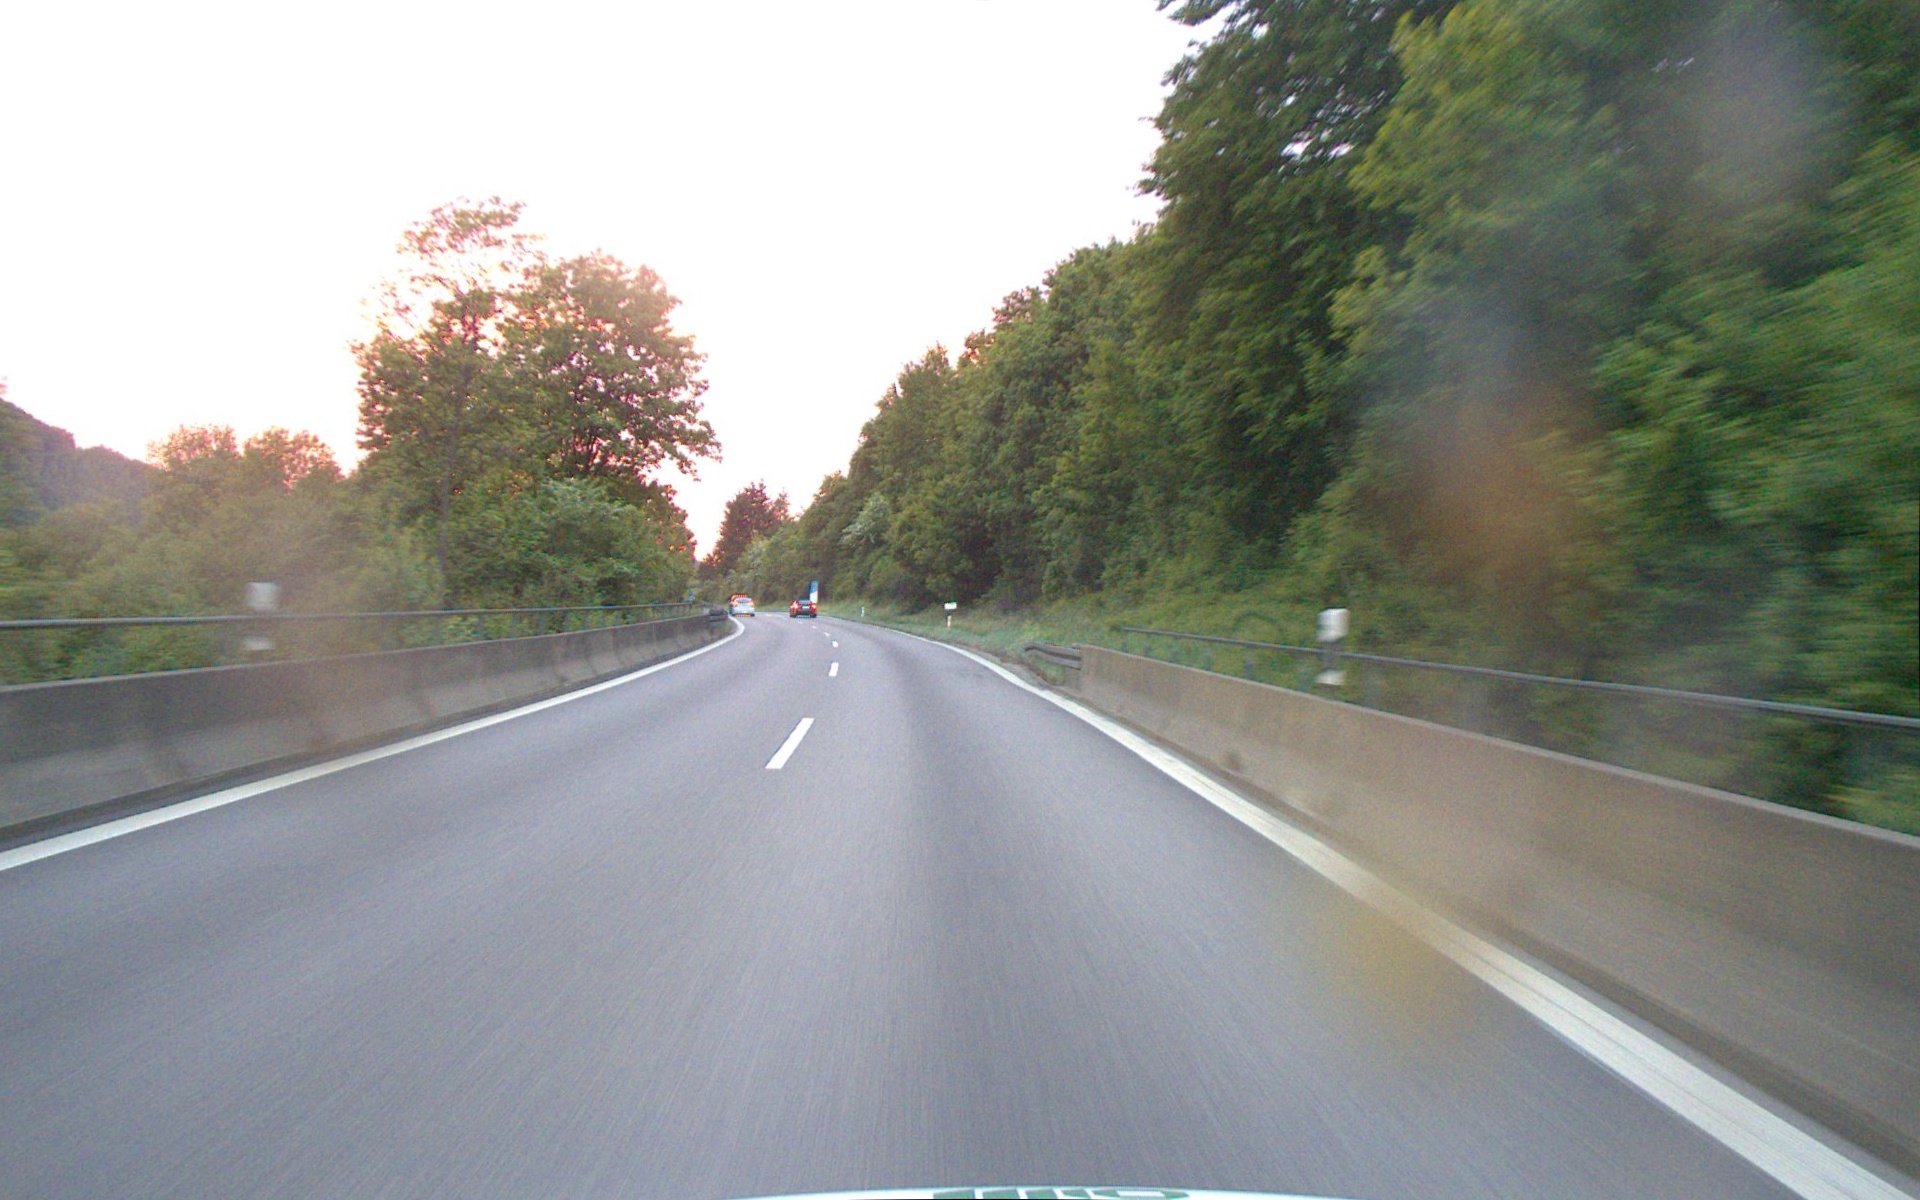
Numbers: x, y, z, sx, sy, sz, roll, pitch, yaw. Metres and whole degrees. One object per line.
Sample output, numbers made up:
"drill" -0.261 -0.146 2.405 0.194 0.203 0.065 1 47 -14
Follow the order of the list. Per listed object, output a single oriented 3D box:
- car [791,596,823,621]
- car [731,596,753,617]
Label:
"car" -12.048 0.671 129.943 1.959 1.675 3.986 4 -4 -13
"car" -17.665 0.512 134.382 1.686 1.528 3.993 2 -2 -7
